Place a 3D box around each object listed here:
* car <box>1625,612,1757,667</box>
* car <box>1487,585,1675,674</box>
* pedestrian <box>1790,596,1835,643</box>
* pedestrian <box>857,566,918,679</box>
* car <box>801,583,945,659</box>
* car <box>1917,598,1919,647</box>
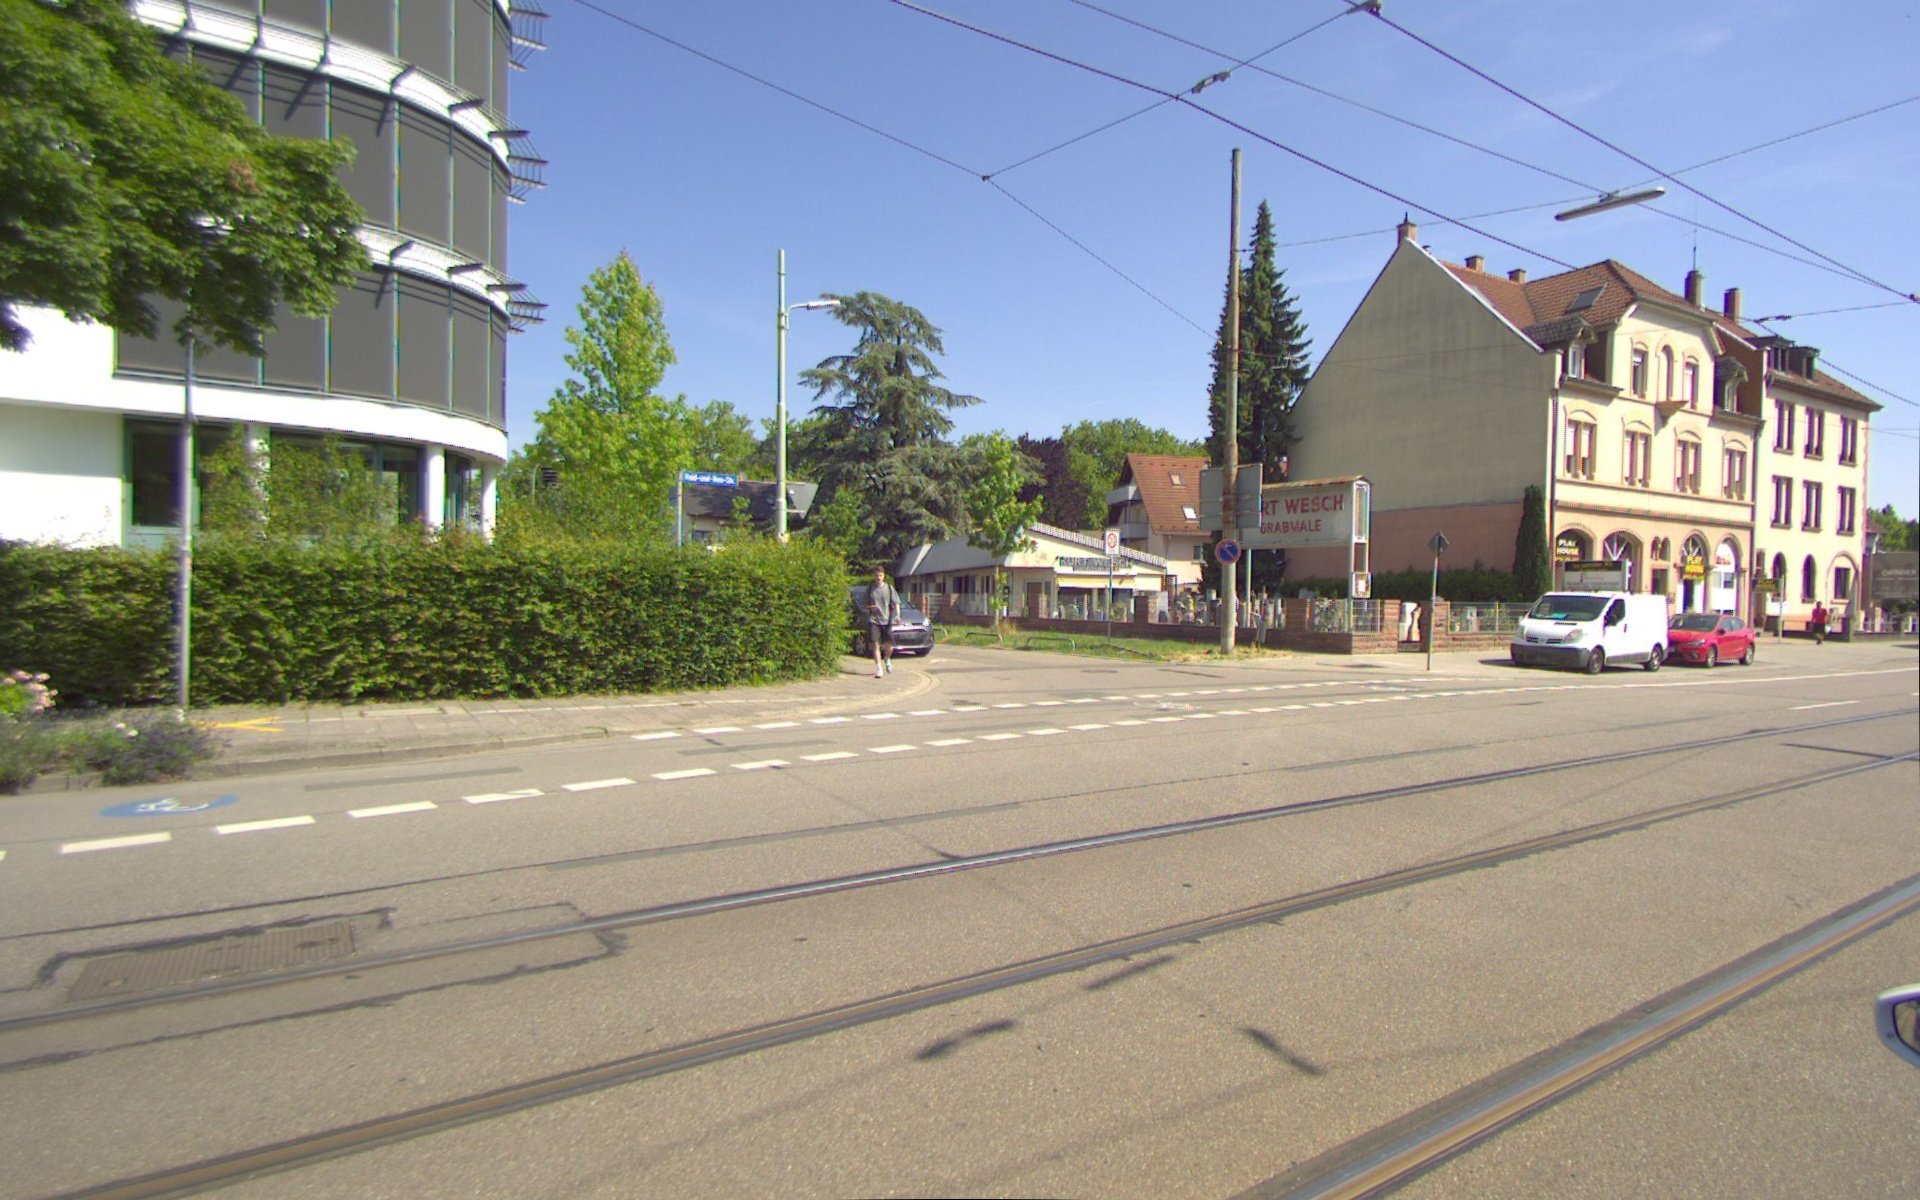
[{"bbox_3d":[20.896,1.089,28.683,3.957,1.425,1.710,1,0,-33],"label":"car"},{"bbox_3d":[15.789,0.720,25.471,4.853,2.041,2.073,1,1,-32],"label":"car"},{"bbox_3d":[33.924,0.762,39.974,1.114,1.839,0.940,1,1,-23],"label":"pedestrian"},{"bbox_3d":[-1.213,0.368,16.988,0.874,1.842,1.074,1,0,3],"label":"pedestrian"},{"bbox_3d":[-2.028,0.428,22.572,1.687,1.548,3.661,1,0,-34],"label":"car"},{"bbox_3d":[41.615,0.681,40.835,6.434,2.570,2.316,1,2,-32],"label":"car"}]
